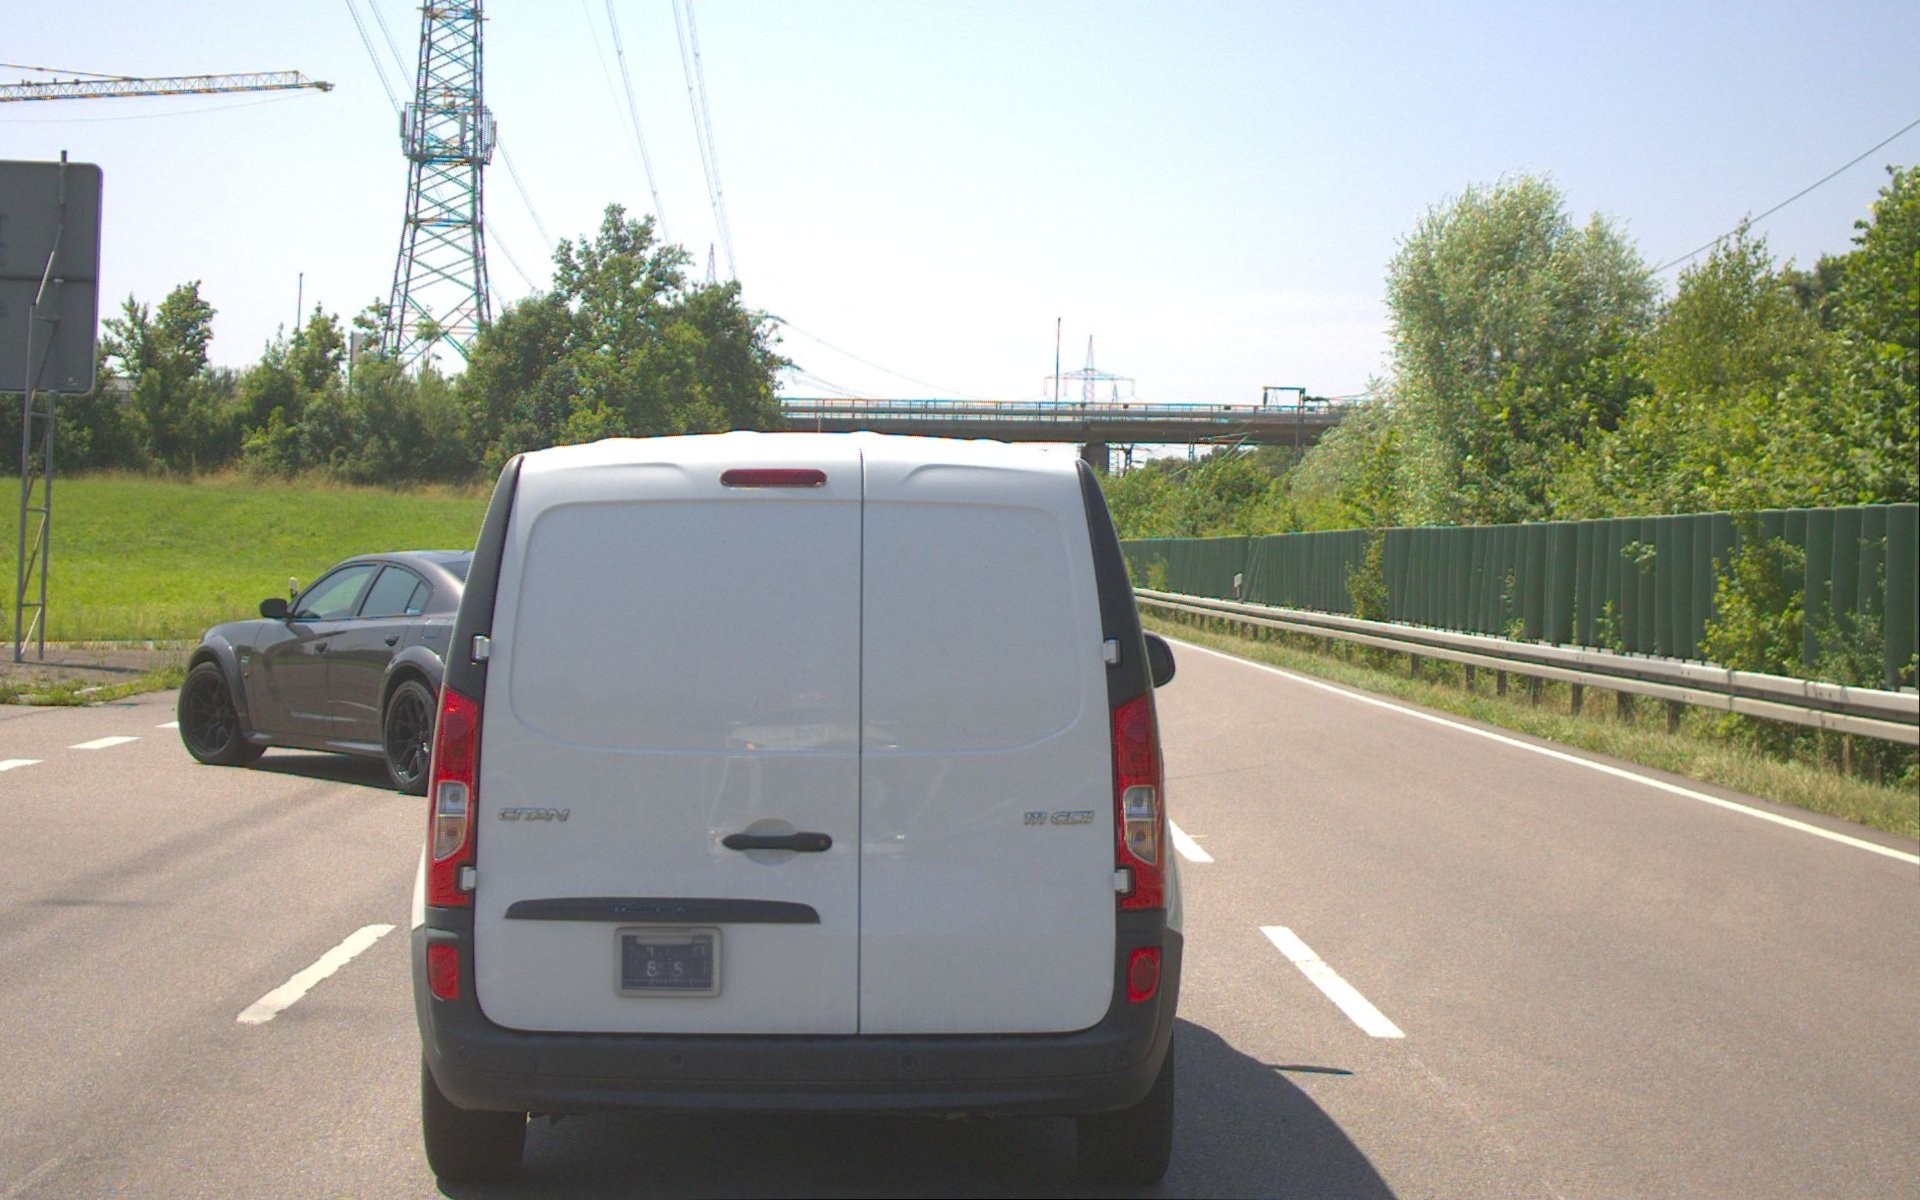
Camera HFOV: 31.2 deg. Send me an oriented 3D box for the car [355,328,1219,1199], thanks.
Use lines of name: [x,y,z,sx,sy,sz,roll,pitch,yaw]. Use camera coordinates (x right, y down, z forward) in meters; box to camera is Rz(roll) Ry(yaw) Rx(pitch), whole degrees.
car: [-0.448,0.380,9.353,1.827,1.964,4.001,1,1,-2]

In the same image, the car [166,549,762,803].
car: [-3.327,0.427,22.231,1.856,1.392,4.653,2,1,-35]
